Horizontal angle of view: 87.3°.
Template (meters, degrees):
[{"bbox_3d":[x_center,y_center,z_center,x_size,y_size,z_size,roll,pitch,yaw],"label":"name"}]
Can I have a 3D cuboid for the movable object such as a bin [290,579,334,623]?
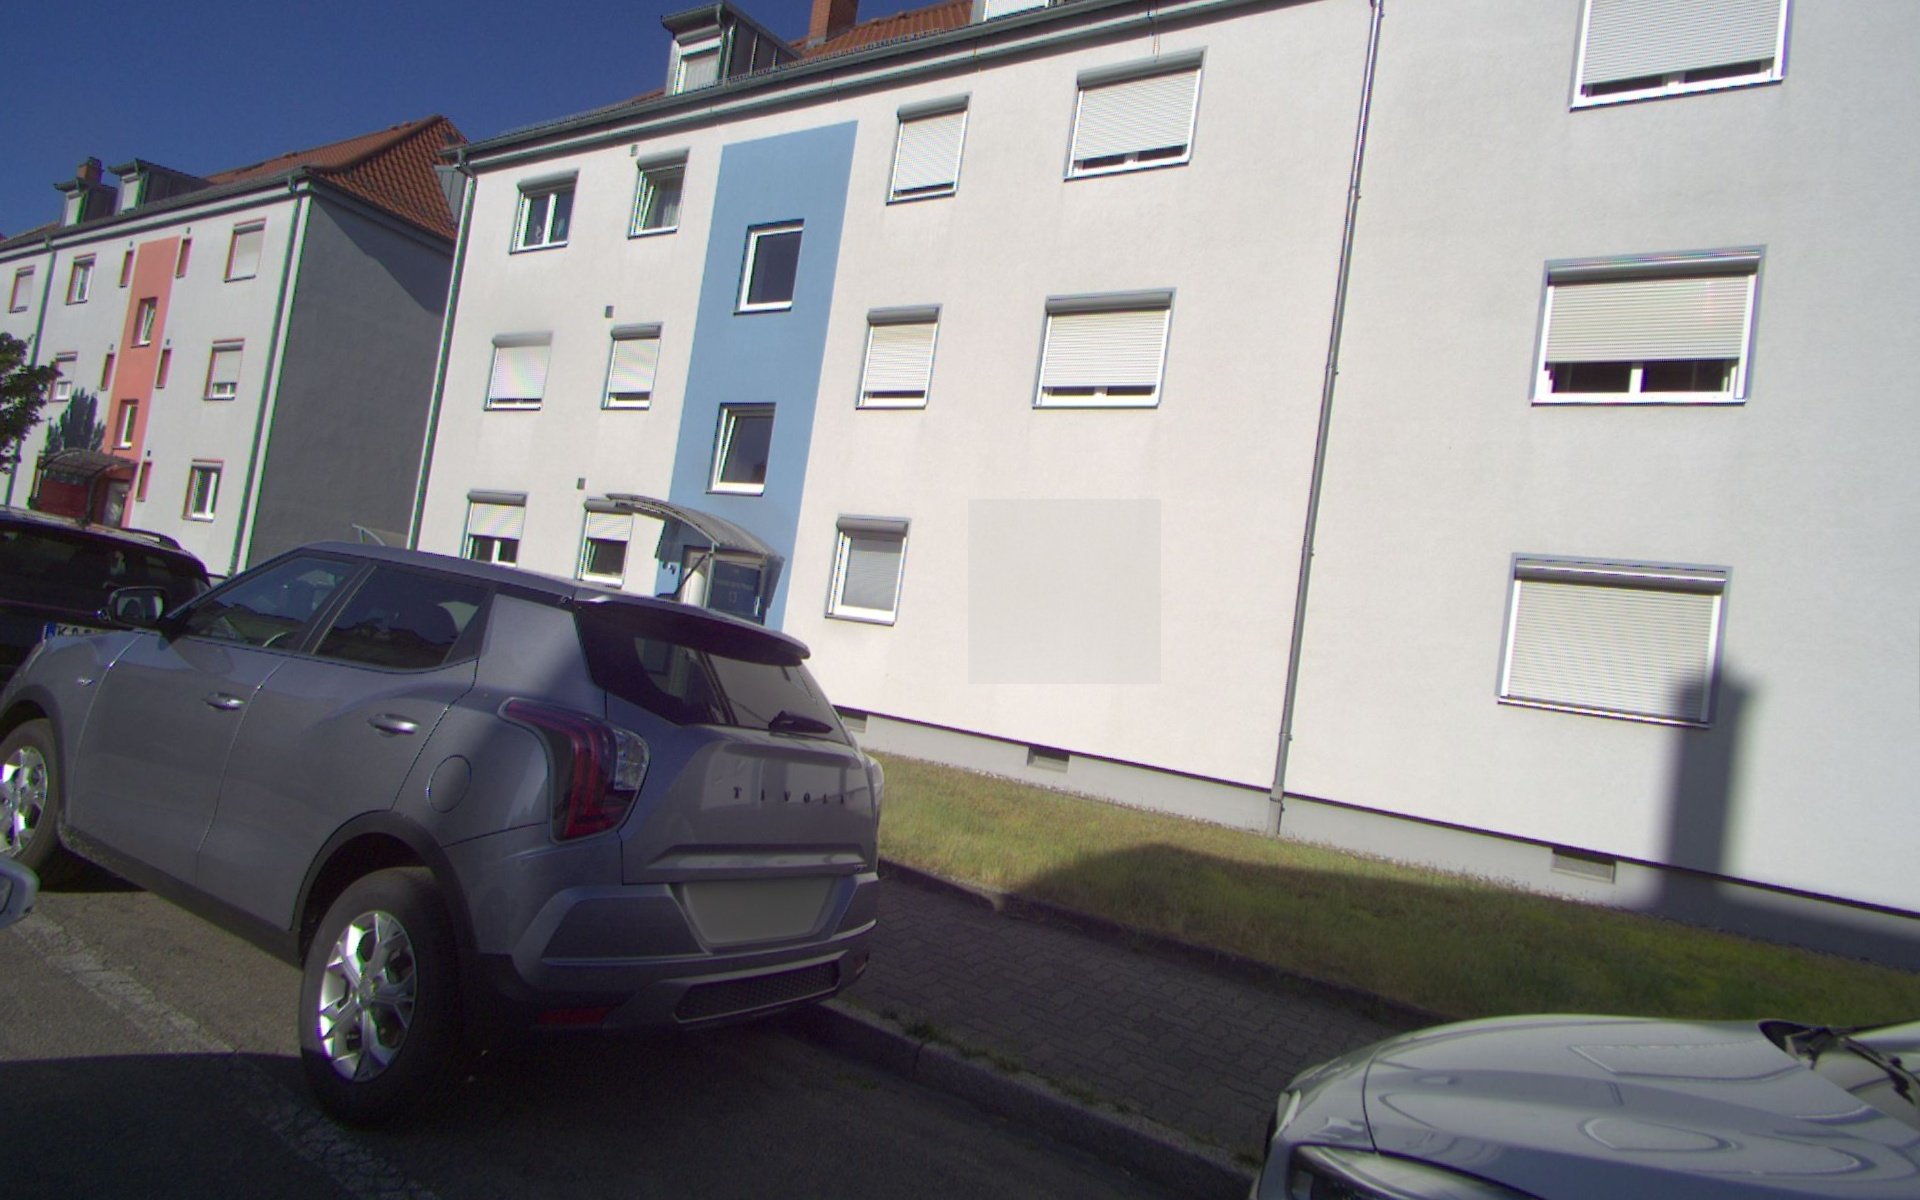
[{"bbox_3d":[-14.964,0.013,23.240,0.622,0.896,0.524,7,-3,32],"label":"movable object such as a bin"}]

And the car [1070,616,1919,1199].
[{"bbox_3d":[2.464,1.168,1.212,4.360,1.591,1.697,7,-5,30],"label":"car"}]

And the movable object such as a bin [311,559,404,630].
[{"bbox_3d":[-14.379,-0.128,24.023,1.168,1.431,1.364,7,-3,31],"label":"movable object such as a bin"}]

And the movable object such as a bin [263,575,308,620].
[{"bbox_3d":[-15.260,-0.046,22.770,0.622,0.896,0.524,7,-3,32],"label":"movable object such as a bin"}]

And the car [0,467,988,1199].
[{"bbox_3d":[-2.321,0.572,4.206,4.376,1.633,1.758,7,-6,29],"label":"car"}]

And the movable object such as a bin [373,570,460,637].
[{"bbox_3d":[-13.662,0.098,25.315,1.168,1.431,1.364,7,-3,31],"label":"movable object such as a bin"}]

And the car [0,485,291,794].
[{"bbox_3d":[-6.723,0.069,6.843,4.324,1.611,1.719,7,-6,31],"label":"car"}]

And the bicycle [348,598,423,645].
[{"bbox_3d":[-11.950,0.438,20.909,1.838,0.748,0.454,7,-2,32],"label":"bicycle"}]
